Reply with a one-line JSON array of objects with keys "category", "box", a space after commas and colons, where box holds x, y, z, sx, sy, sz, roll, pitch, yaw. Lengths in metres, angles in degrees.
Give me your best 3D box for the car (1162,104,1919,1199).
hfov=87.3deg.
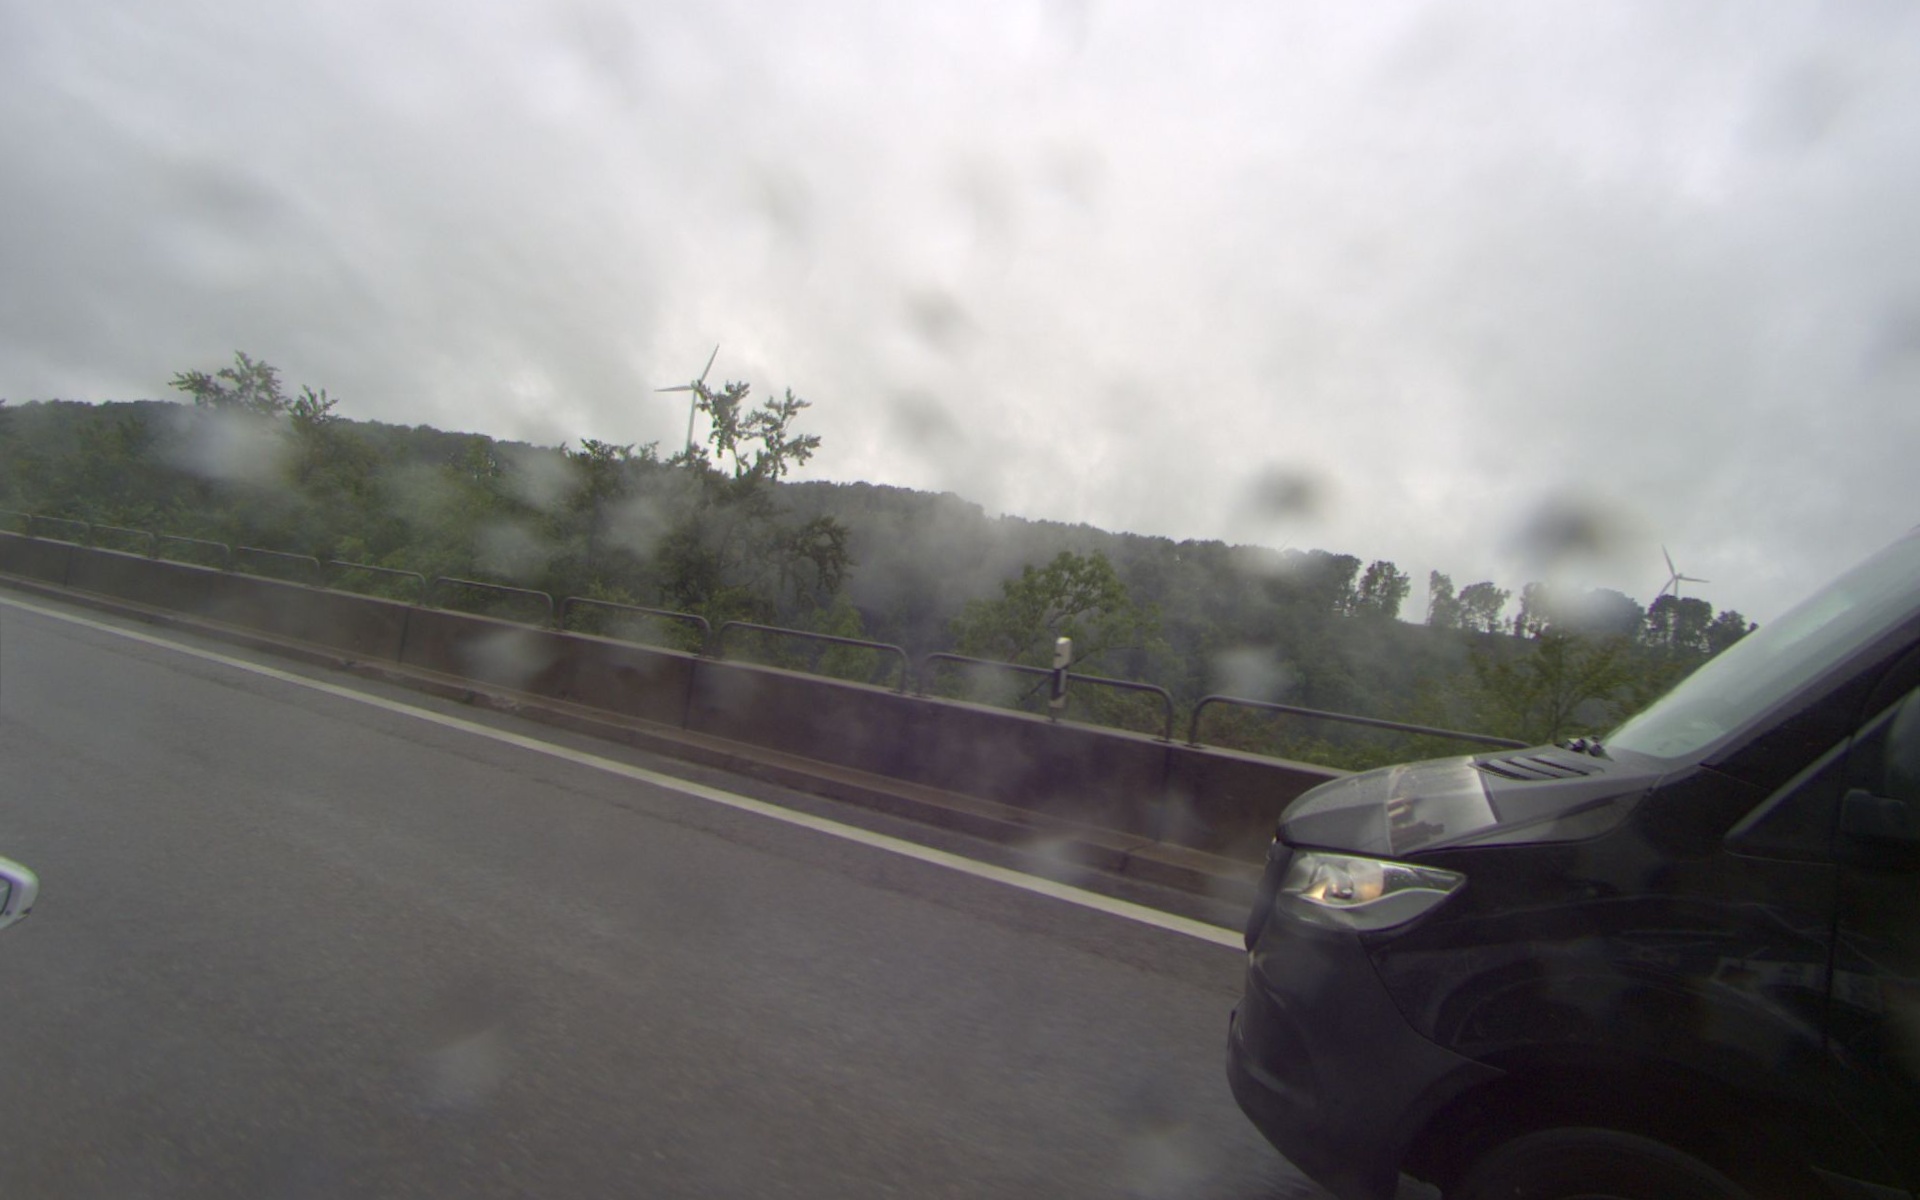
[{"category": "car", "box": [3.890, 0.737, 1.415, 6.593, 2.523, 1.997, 7, -1, 31]}]
